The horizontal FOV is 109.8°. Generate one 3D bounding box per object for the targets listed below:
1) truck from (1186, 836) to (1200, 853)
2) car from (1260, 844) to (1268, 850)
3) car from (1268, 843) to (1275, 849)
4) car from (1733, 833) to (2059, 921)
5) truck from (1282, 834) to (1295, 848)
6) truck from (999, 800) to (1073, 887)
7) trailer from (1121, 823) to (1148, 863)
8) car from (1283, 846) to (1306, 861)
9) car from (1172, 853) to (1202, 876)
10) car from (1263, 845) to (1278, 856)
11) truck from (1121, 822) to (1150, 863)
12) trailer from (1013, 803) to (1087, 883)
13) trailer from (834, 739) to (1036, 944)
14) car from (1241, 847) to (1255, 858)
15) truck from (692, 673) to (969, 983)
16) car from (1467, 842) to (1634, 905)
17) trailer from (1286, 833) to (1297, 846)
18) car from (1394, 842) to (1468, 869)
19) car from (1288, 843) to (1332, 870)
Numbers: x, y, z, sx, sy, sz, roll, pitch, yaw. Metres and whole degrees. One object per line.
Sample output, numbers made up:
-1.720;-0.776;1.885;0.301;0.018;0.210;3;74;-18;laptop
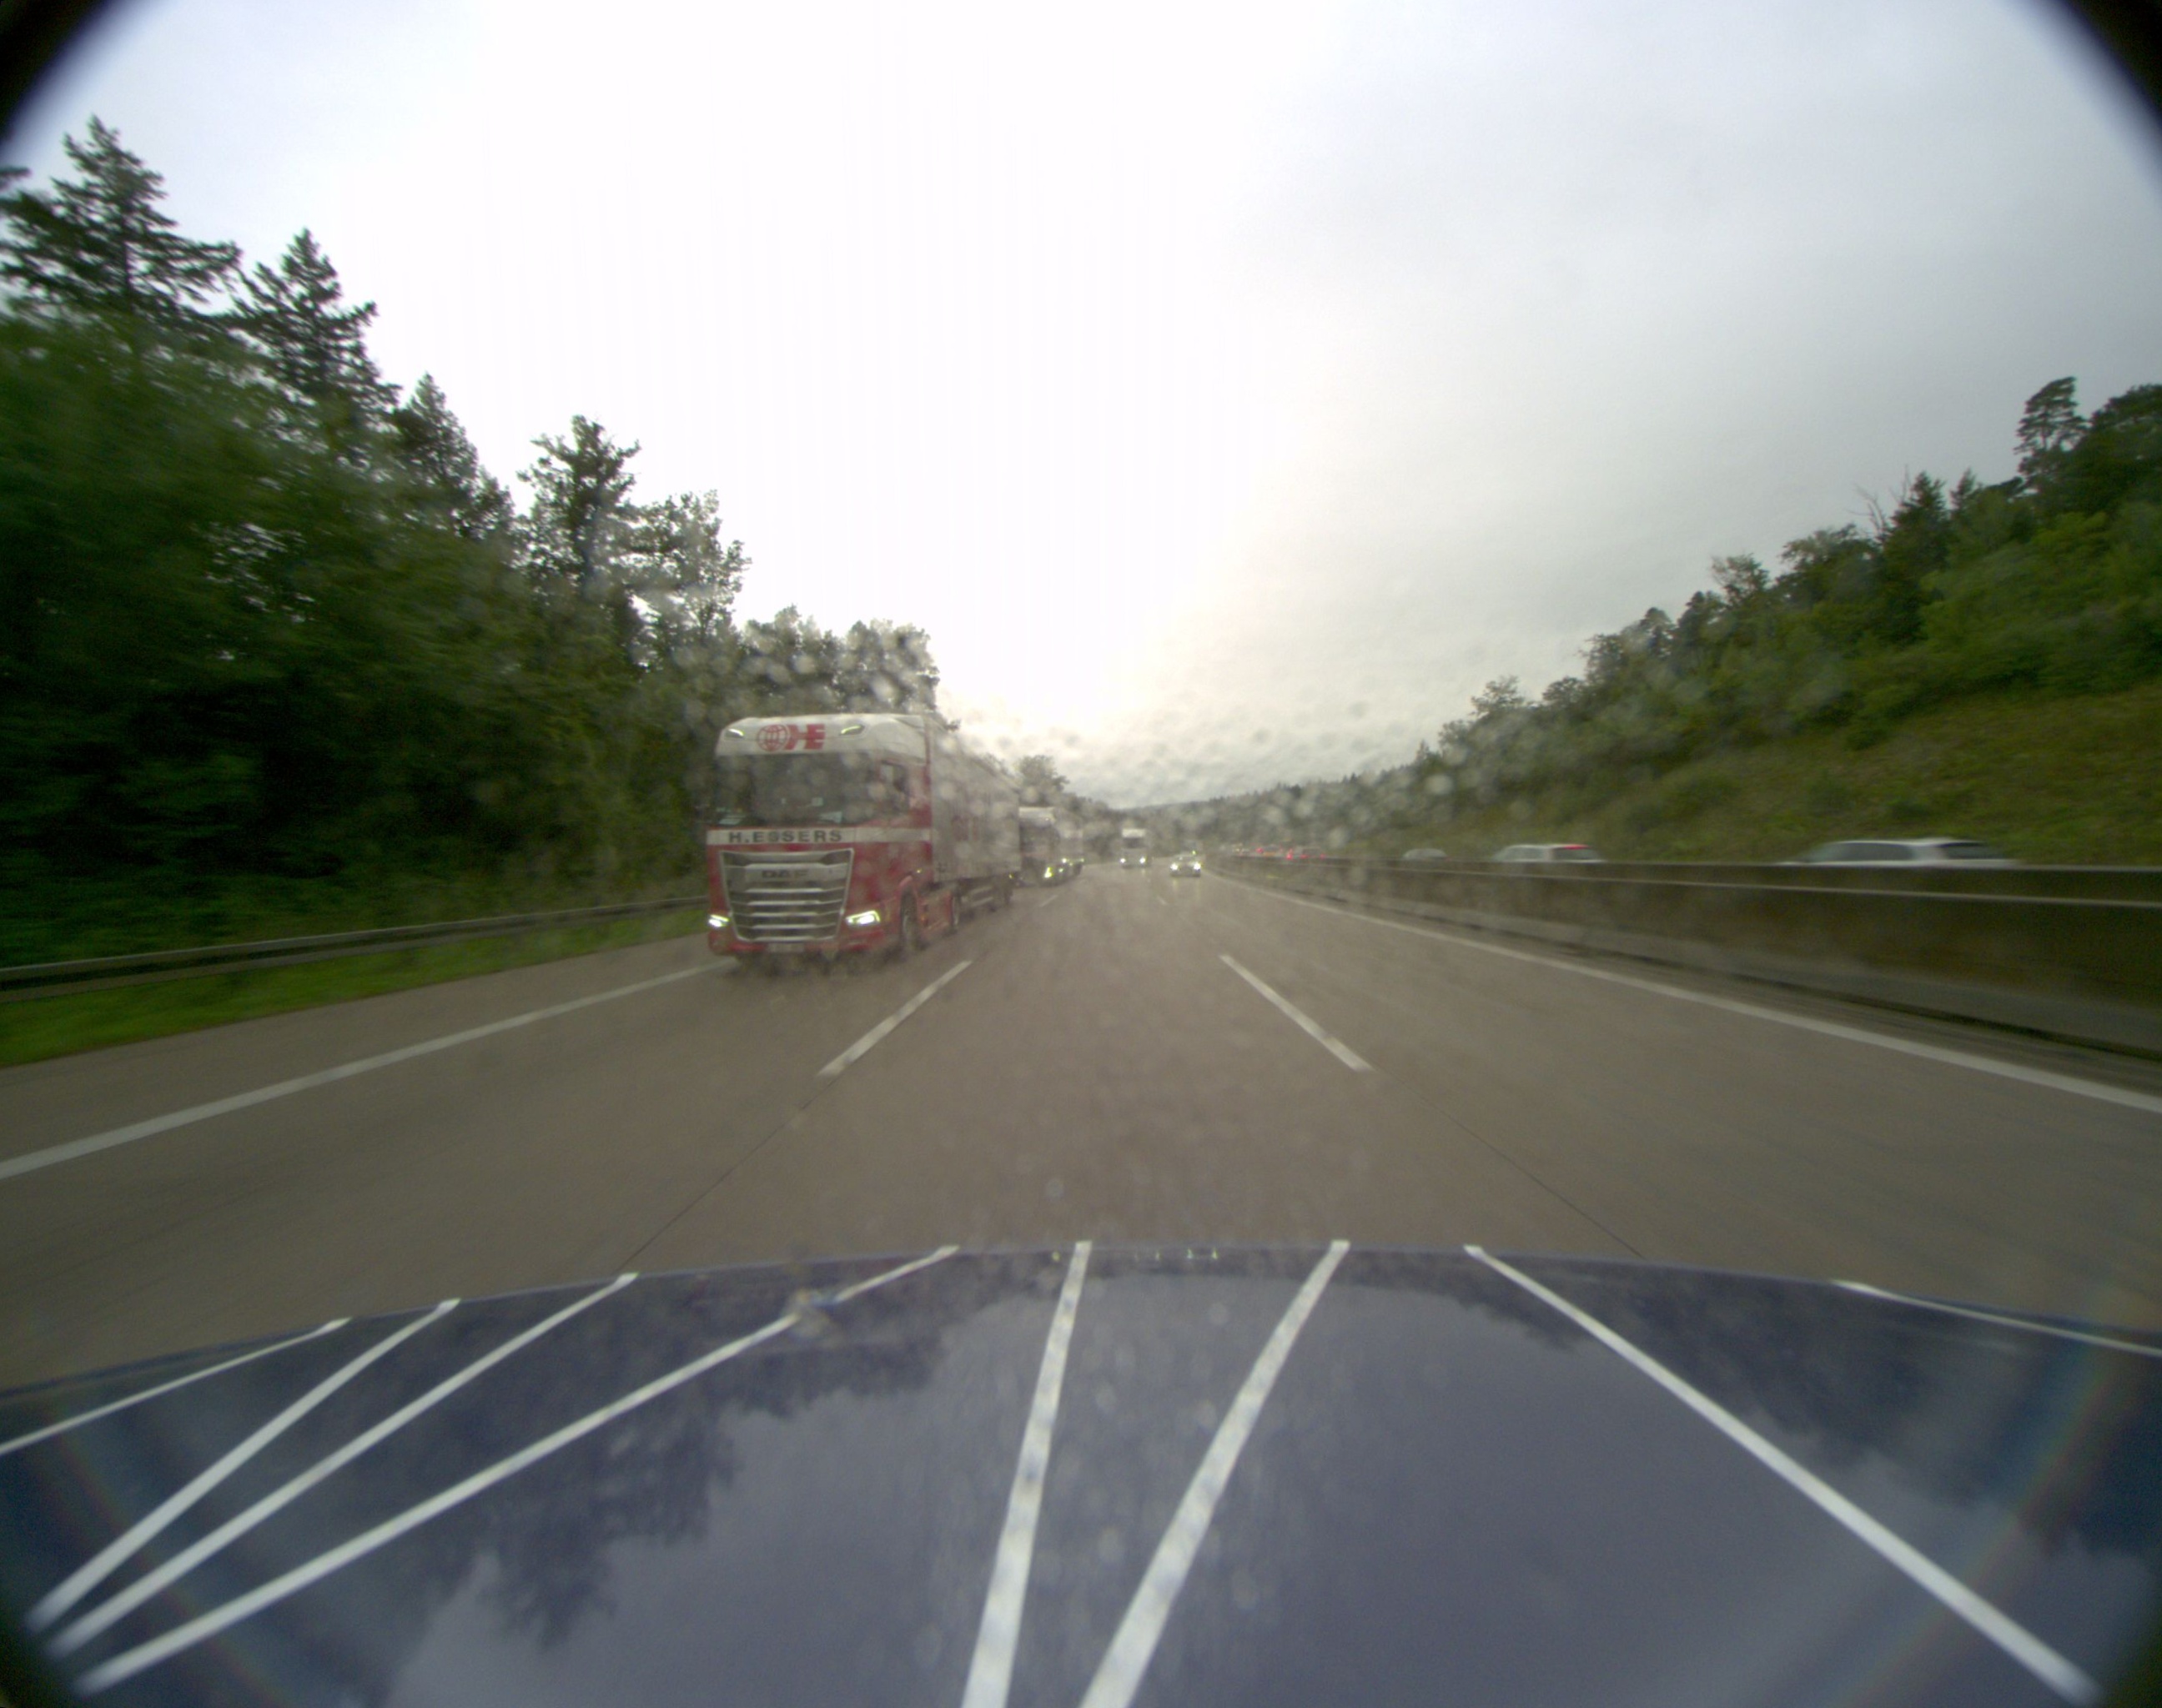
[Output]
28.701;-2.317;194.467;2.735;4.127;8.629;-2;0;12;truck
41.626;-1.590;172.776;1.655;1.338;4.090;-2;1;16;car
51.480;-2.177;205.833;1.807;1.338;4.770;-2;1;14;car
17.054;0.408;16.385;1.998;1.575;4.772;-1;0;2;car
50.480;-3.148;185.011;2.625;3.277;9.393;-1;1;17;truck
-2.169;-0.514;39.334;2.804;4.080;5.969;-2;1;5;truck
6.025;-1.196;87.182;2.685;4.017;13.707;-4;0;3;trailer
22.846;-0.055;81.441;1.577;1.478;4.285;-1;0;4;car
6.867;0.665;49.659;1.716;1.399;4.938;-2;0;6;car
30.424;-0.580;121.986;1.745;1.552;4.285;-1;0;7;car
5.712;-1.180;80.076;2.727;4.017;5.753;-4;0;3;truck
-1.542;-0.645;46.310;2.740;4.080;13.685;-2;0;5;trailer
-3.225;-0.250;21.080;2.376;3.930;12.523;-2;0;3;trailer
23.807;-0.190;108.315;1.745;1.552;4.286;-1;0;9;car
-3.673;-0.275;12.806;2.380;3.930;6.161;-1;-1;2;truck
13.356;0.493;22.032;1.998;1.575;4.772;-1;0;2;car
65.943;-4.446;238.287;3.018;3.852;13.714;-2;1;15;trailer
18.199;0.046;39.774;1.998;1.286;4.297;-1;0;2;car
15.696;0.158;52.230;1.998;1.758;4.538;-1;0;5;car
